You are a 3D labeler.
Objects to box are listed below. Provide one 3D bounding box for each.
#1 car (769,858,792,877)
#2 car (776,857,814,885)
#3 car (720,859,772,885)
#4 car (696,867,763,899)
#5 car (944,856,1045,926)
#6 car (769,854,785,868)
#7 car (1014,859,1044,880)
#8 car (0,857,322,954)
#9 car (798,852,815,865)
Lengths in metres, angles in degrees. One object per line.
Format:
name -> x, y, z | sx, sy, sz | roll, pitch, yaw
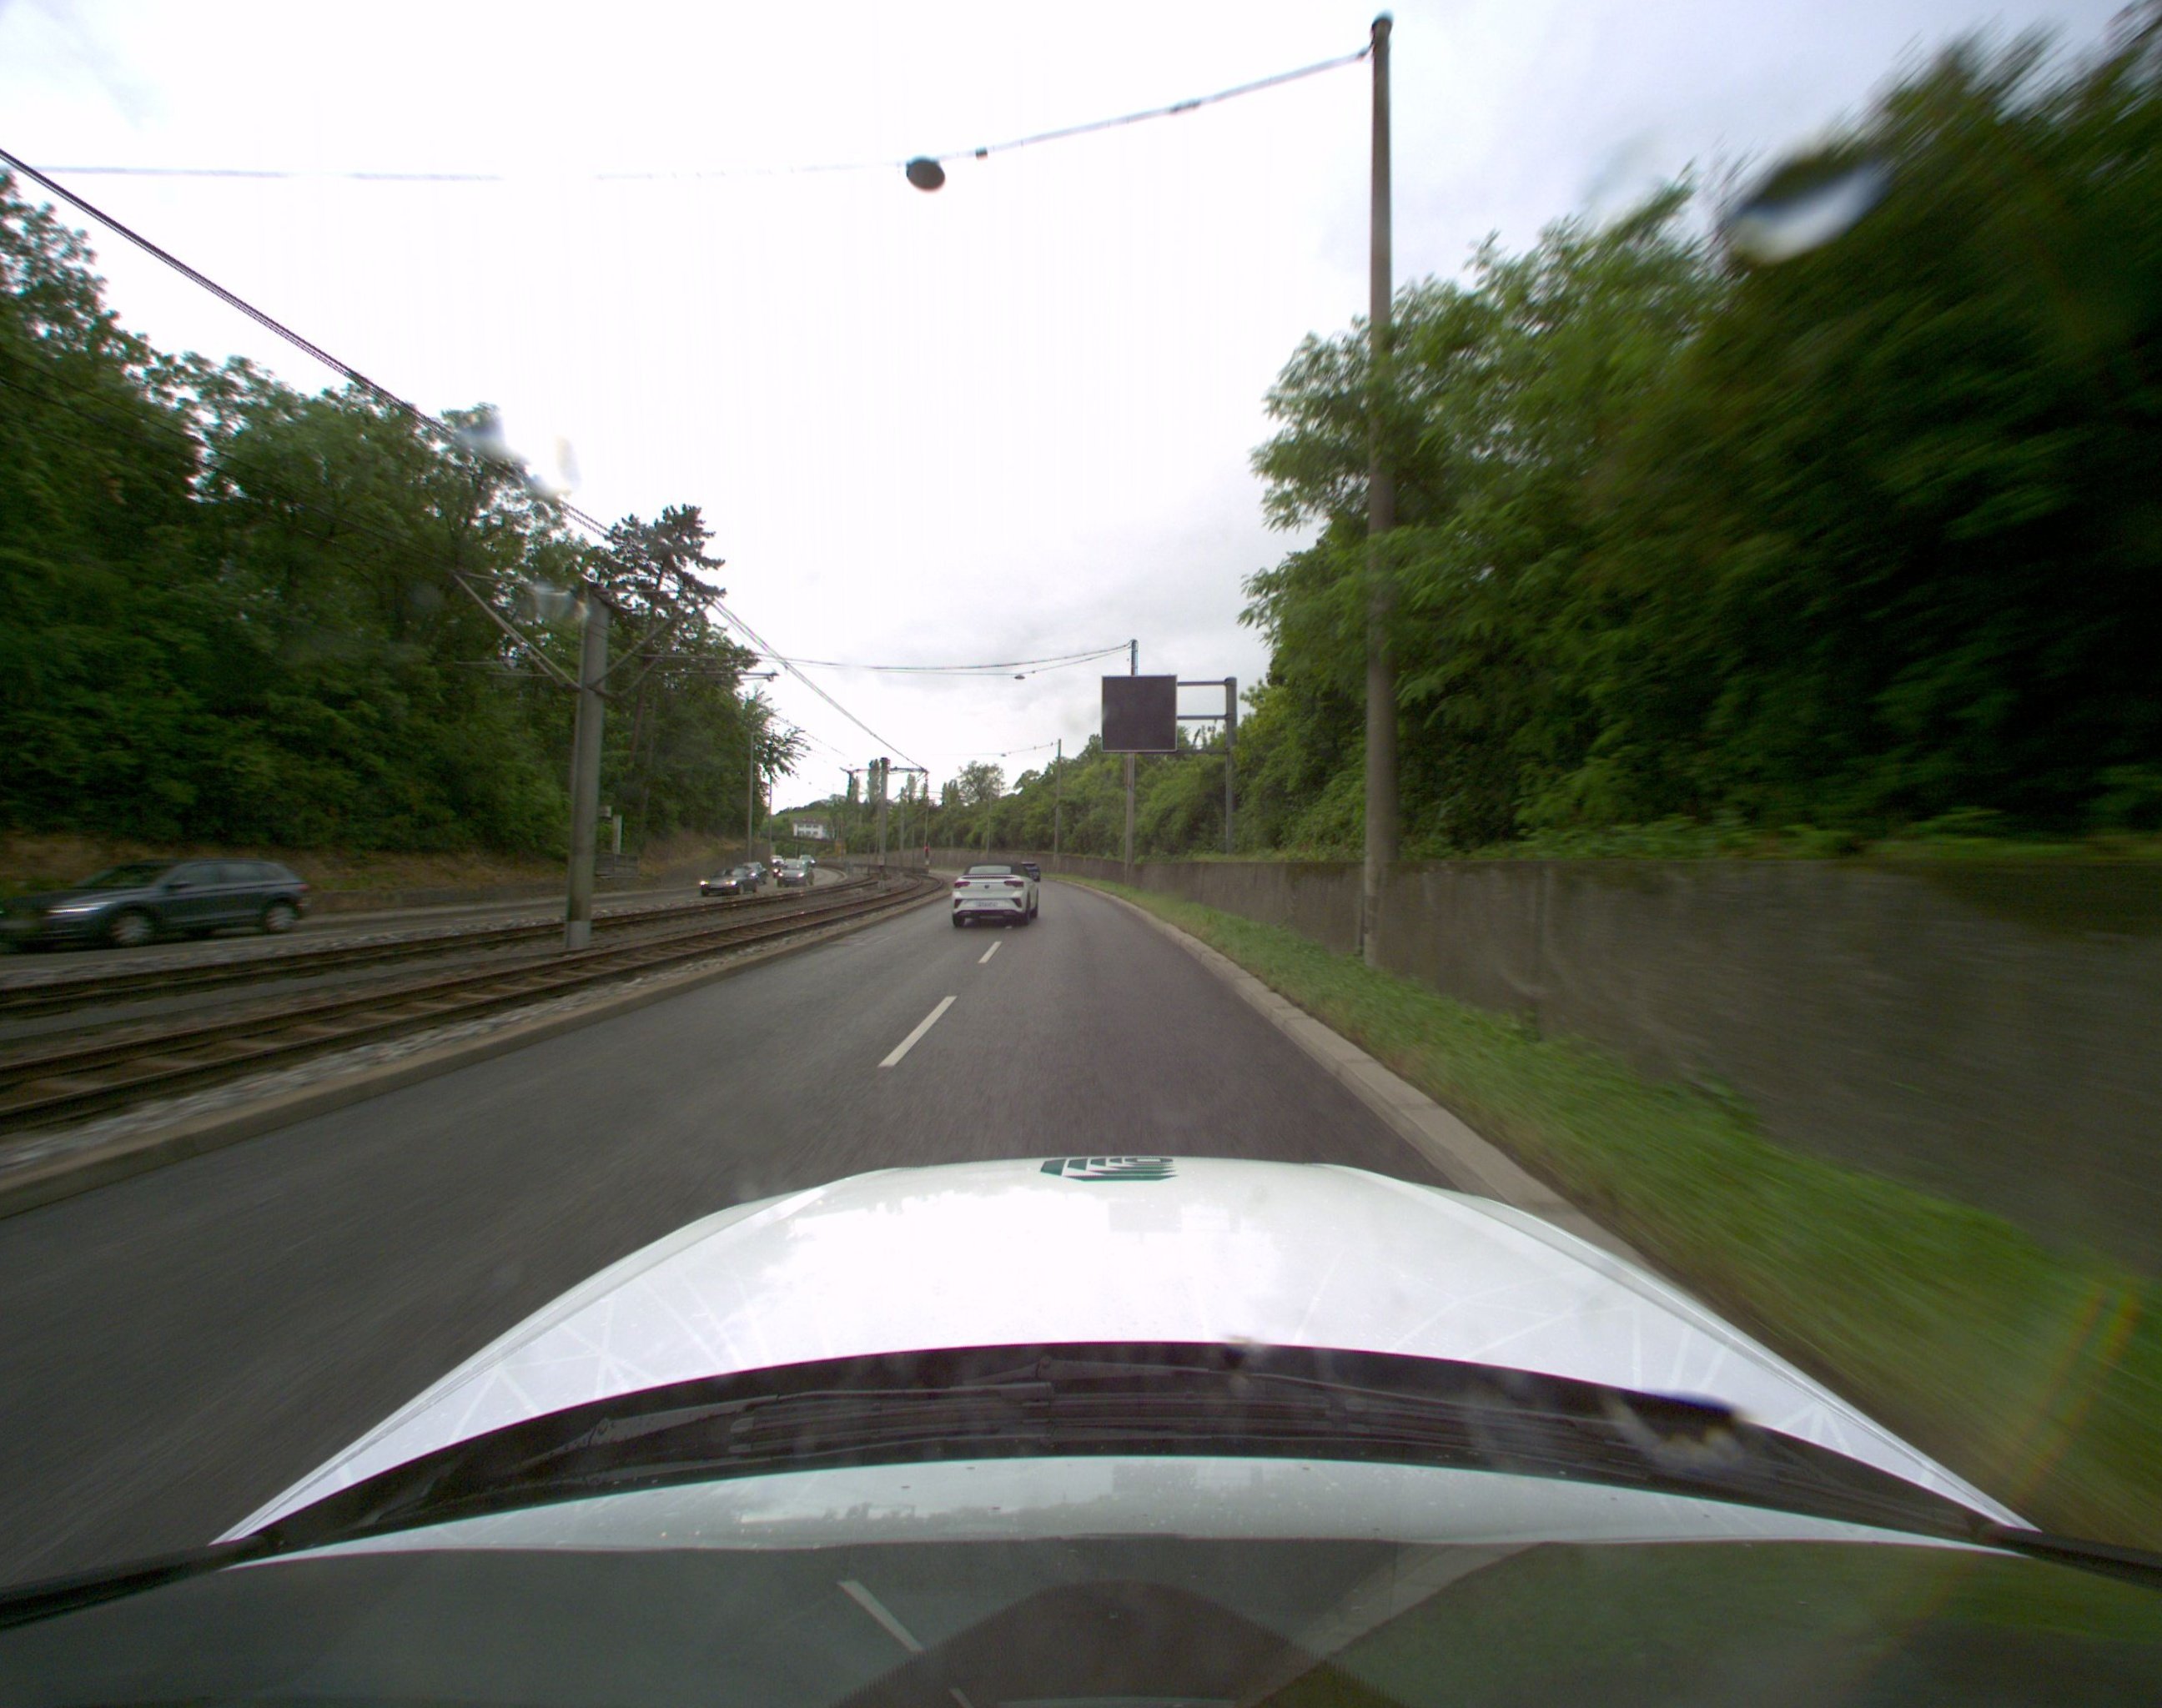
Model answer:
car -> -25.841, 1.125, 69.921 | 1.751, 1.516, 4.543 | -1, 0, -21
car -> -16.599, 0.979, 47.351 | 1.538, 1.491, 3.607 | -2, 0, -11
car -> -20.208, 1.068, 49.302 | 1.816, 1.462, 4.646 | -1, 0, -8
car -> -15.387, 1.233, 35.833 | 1.541, 1.258, 3.951 | -2, -1, -6
car -> -2.035, 0.840, 20.444 | 1.864, 1.524, 4.542 | -1, 0, 2
car -> -45.591, 1.085, 122.259 | 1.998, 2.014, 3.976 | 1, -1, -17
car -> -3.915, 1.160, 60.437 | 1.764, 1.501, 3.986 | 1, -1, -10
car -> -17.847, 0.882, 16.017 | 1.702, 1.607, 4.409 | -1, 0, -1
car -> -38.540, 0.563, 114.221 | 1.936, 1.787, 4.416 | 0, 0, -24
